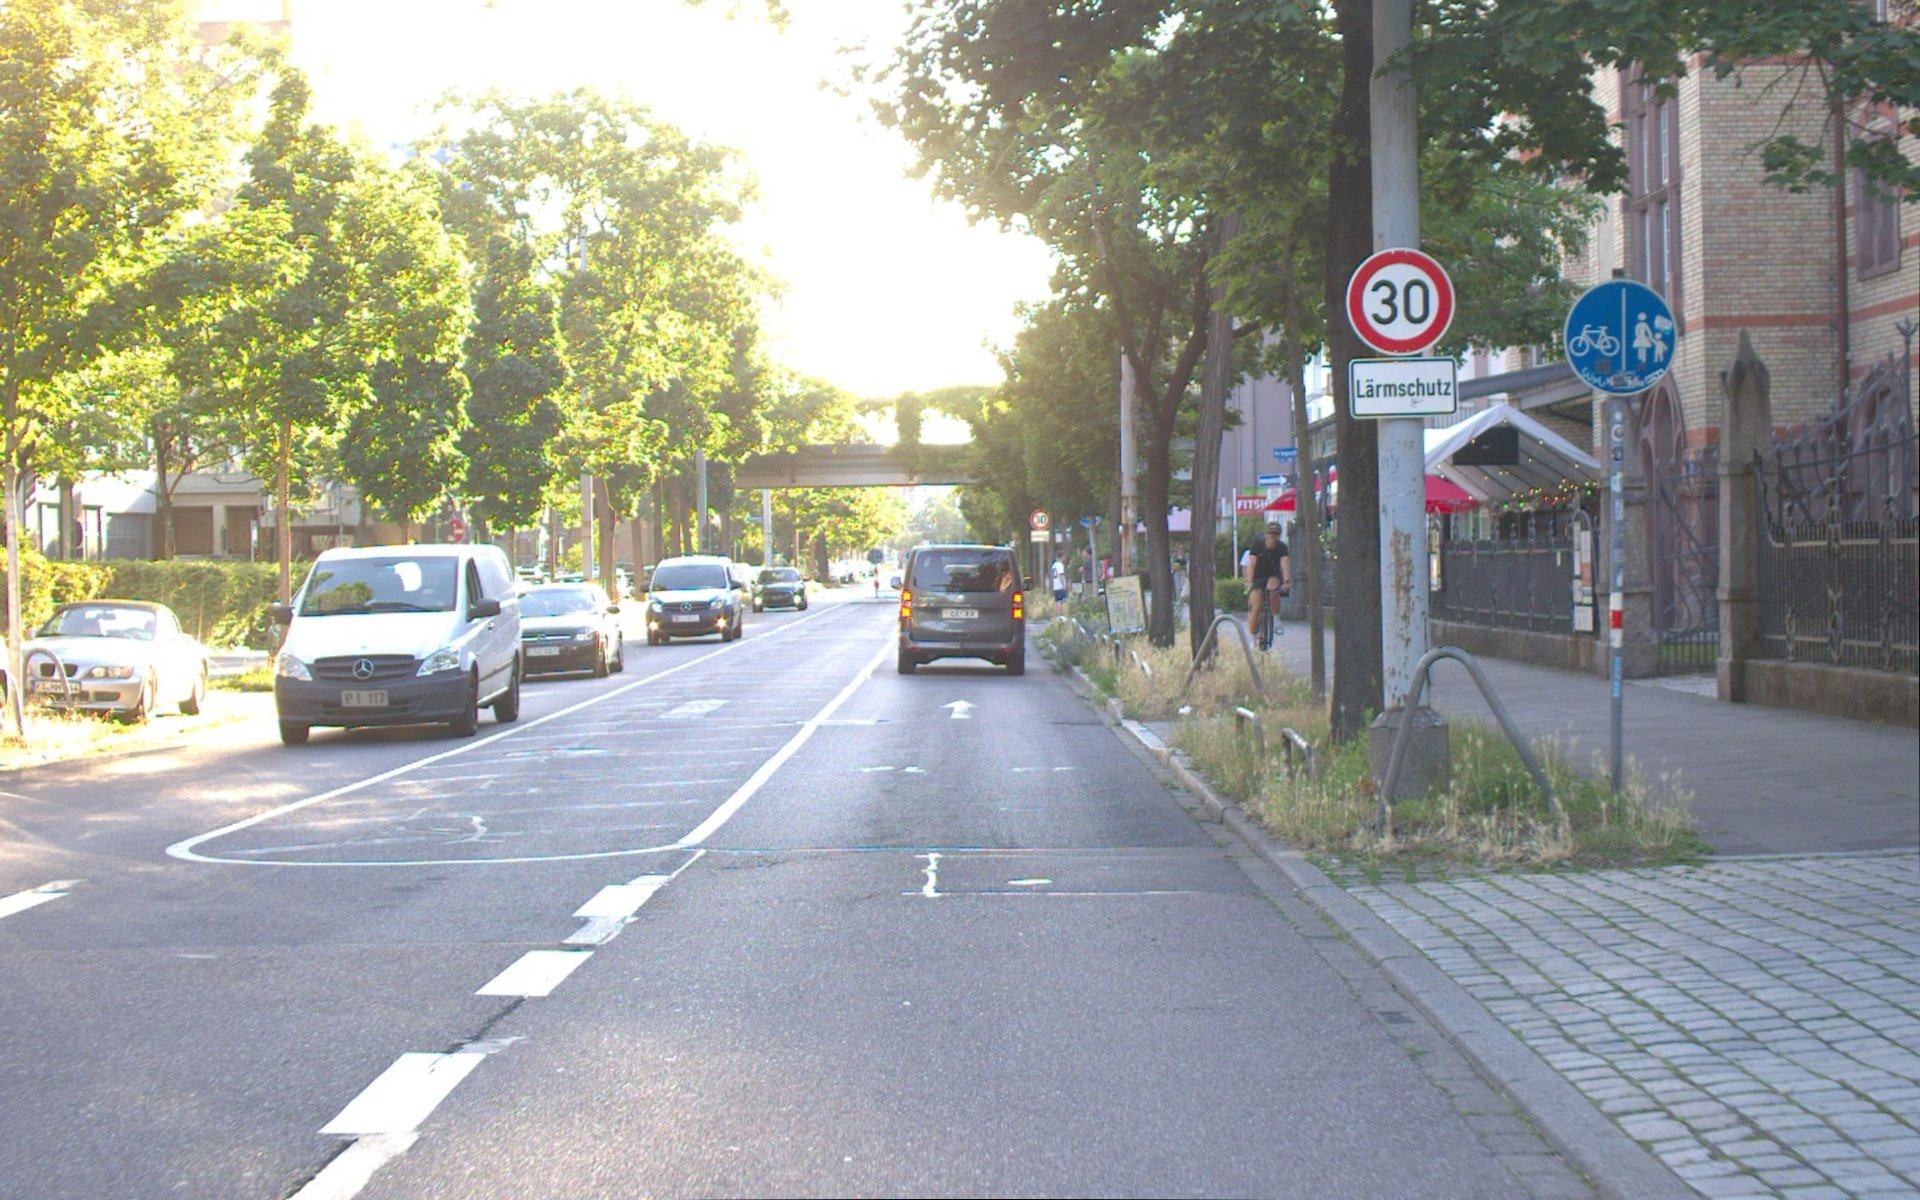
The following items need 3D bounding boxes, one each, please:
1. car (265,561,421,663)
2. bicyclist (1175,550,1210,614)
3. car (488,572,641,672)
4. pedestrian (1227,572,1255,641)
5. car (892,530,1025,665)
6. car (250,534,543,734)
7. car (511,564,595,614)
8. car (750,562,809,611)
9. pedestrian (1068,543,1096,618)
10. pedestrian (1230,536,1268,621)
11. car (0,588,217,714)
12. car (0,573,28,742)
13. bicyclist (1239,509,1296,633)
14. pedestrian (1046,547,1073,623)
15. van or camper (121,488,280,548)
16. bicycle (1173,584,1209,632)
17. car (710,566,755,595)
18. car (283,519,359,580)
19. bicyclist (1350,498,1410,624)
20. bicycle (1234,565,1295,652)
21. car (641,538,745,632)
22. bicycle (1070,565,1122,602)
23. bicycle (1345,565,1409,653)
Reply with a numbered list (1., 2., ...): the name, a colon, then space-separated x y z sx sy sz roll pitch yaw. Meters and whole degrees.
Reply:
1. car: -9.355 0.160 52.371 1.697 1.446 4.000 1 1 -1
2. bicyclist: 4.584 -0.359 67.872 0.585 1.232 1.112 1 1 0
3. car: -5.928 0.300 51.937 1.759 1.381 4.305 -2 1 0
4. pedestrian: 5.509 0.122 67.440 0.467 1.346 0.530 1 1 1
5. car: 0.016 -0.070 51.453 1.887 1.918 3.839 -1 1 1
6. car: -5.595 0.283 34.803 1.993 1.825 5.169 -2 1 1
7. car: -12.215 -0.335 103.374 1.993 1.409 4.237 1 1 0
8. car: -5.933 -0.460 113.326 1.679 1.525 4.000 -2 1 0
9. pedestrian: 3.058 -0.491 86.167 0.504 1.882 0.545 1 1 -14
10. pedestrian: 5.561 -0.419 66.274 0.644 1.627 0.656 1 1 1
11. car: -9.293 0.526 37.689 1.536 1.244 3.614 1 1 -1
12. car: -9.622 0.530 30.173 1.746 1.529 4.303 1 1 -1
13. bicyclist: 3.852 -0.370 43.082 0.595 1.527 0.893 1 1 0
14. pedestrian: 2.517 -0.378 86.659 0.504 1.882 0.545 1 1 -14
15. van or camper: -34.010 -3.653 154.137 6.562 2.513 2.449 1 1 -1
16. bicycle: 4.562 0.154 67.996 0.579 0.894 1.987 1 1 0
17. car: -11.702 -0.996 177.145 1.993 1.409 4.237 1 1 0
18. car: -25.309 -2.003 136.298 1.993 2.300 5.245 1 1 0
19. bicyclist: 5.182 -0.483 42.440 0.595 1.527 0.893 1 1 0
20. bicycle: 3.805 0.094 43.042 0.544 1.036 2.089 1 1 0
21. car: -5.518 -0.327 71.464 1.833 1.846 4.474 -2 1 -1
22. bicycle: 3.435 -0.422 87.035 0.588 0.894 1.988 1 1 -19
23. bicycle: 5.160 0.098 42.593 0.517 1.036 2.089 1 1 0
